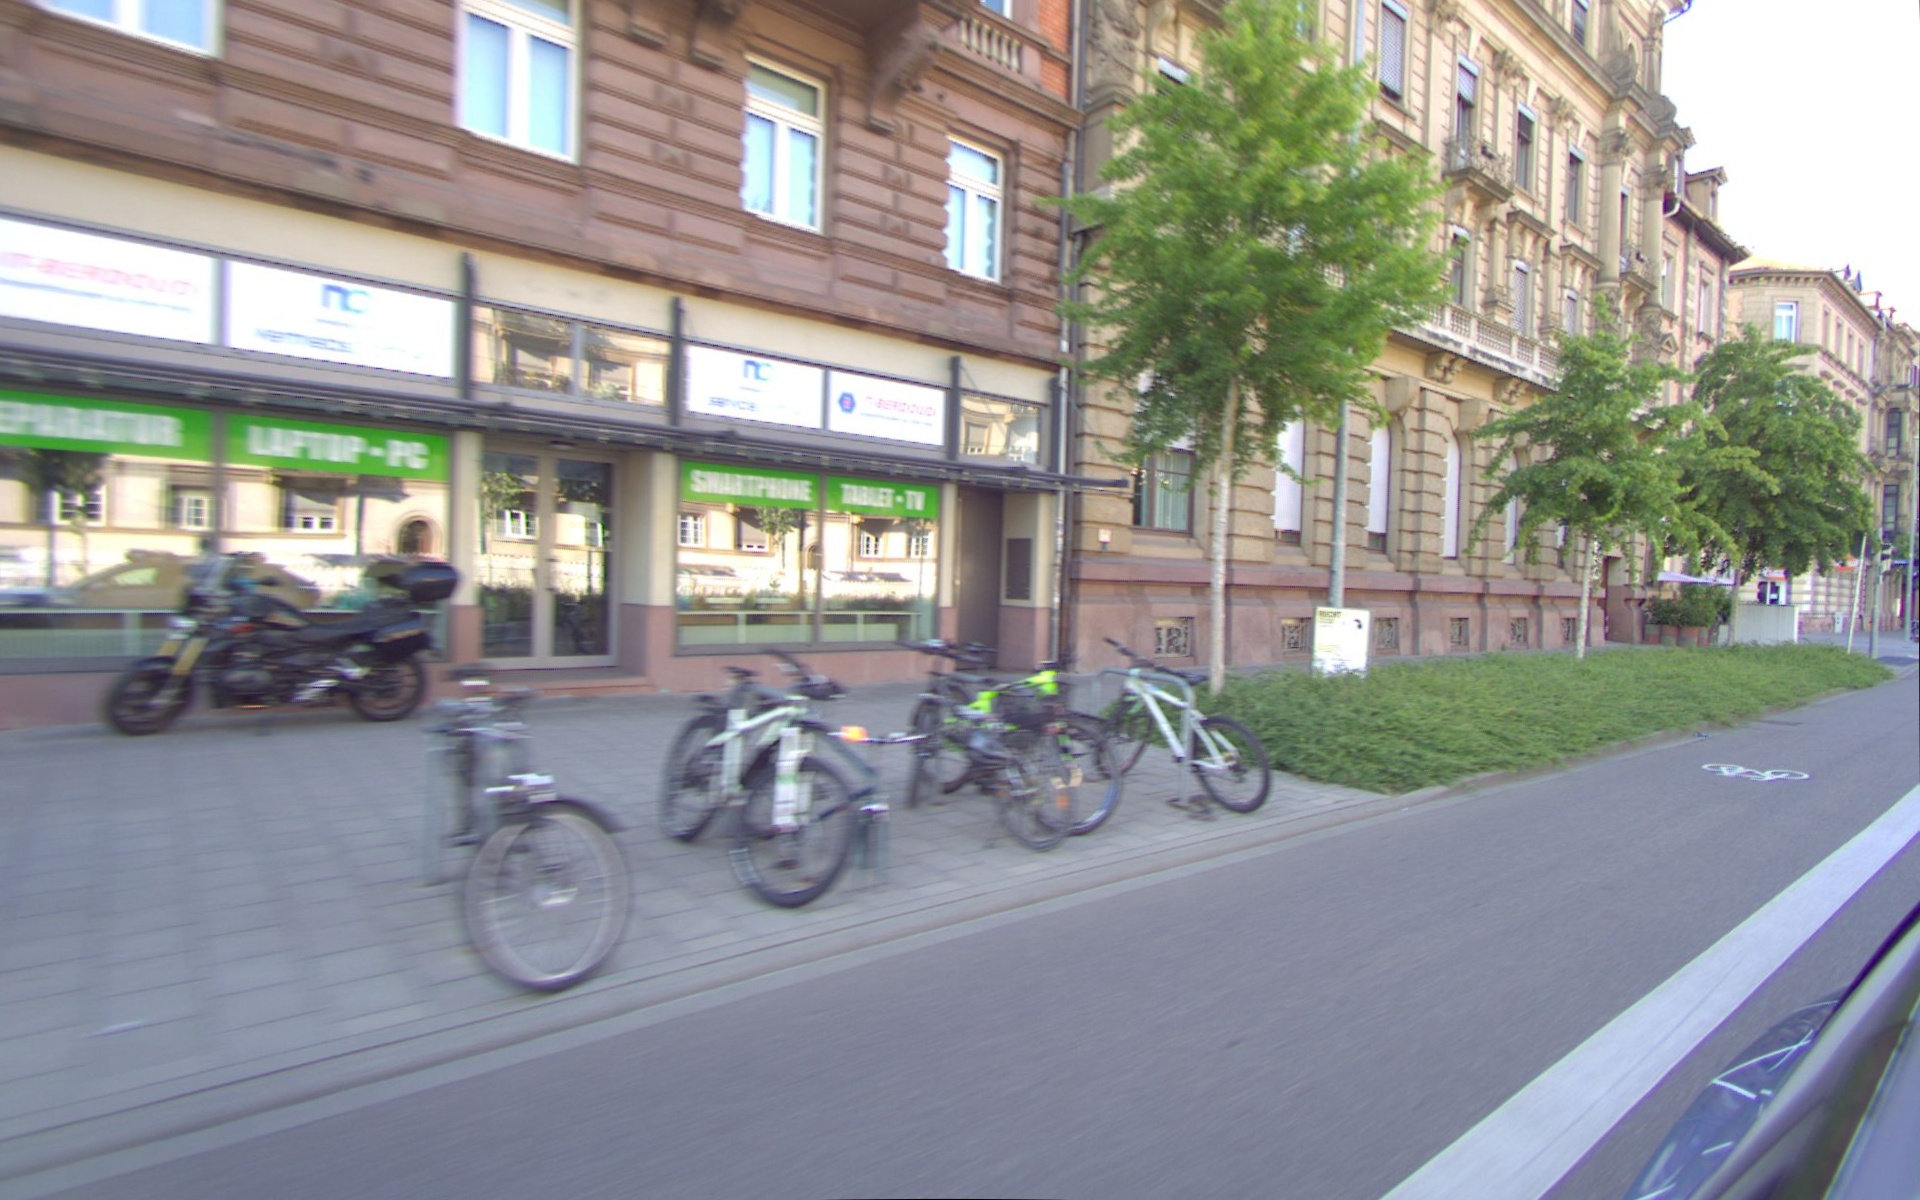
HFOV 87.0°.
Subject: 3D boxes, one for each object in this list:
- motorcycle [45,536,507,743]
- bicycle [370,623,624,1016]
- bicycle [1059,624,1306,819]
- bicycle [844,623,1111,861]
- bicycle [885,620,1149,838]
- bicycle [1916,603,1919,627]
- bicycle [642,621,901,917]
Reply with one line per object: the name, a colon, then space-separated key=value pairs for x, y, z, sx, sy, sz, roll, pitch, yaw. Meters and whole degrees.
motorcycle: x=-5.084 y=0.259 z=7.752 sx=2.801 sy=1.324 sz=0.797 roll=1 pitch=3 yaw=-41
bicycle: x=-1.892 y=0.712 z=3.987 sx=0.481 sy=1.060 sz=1.696 roll=1 pitch=5 yaw=-39
bicycle: x=1.470 y=0.760 z=6.888 sx=1.576 sy=1.061 sz=0.482 roll=5 pitch=3 yaw=43
bicycle: x=0.050 y=0.729 z=5.789 sx=1.576 sy=1.061 sz=0.482 roll=5 pitch=3 yaw=43
bicycle: x=0.303 y=0.728 z=6.314 sx=1.691 sy=1.061 sz=0.482 roll=5 pitch=3 yaw=43
bicycle: x=44.498 y=0.772 z=45.732 sx=0.653 sy=1.077 sz=1.828 roll=1 pitch=4 yaw=-44
bicycle: x=-1.007 y=0.725 z=5.034 sx=0.481 sy=1.060 sz=1.696 roll=1 pitch=5 yaw=-39
